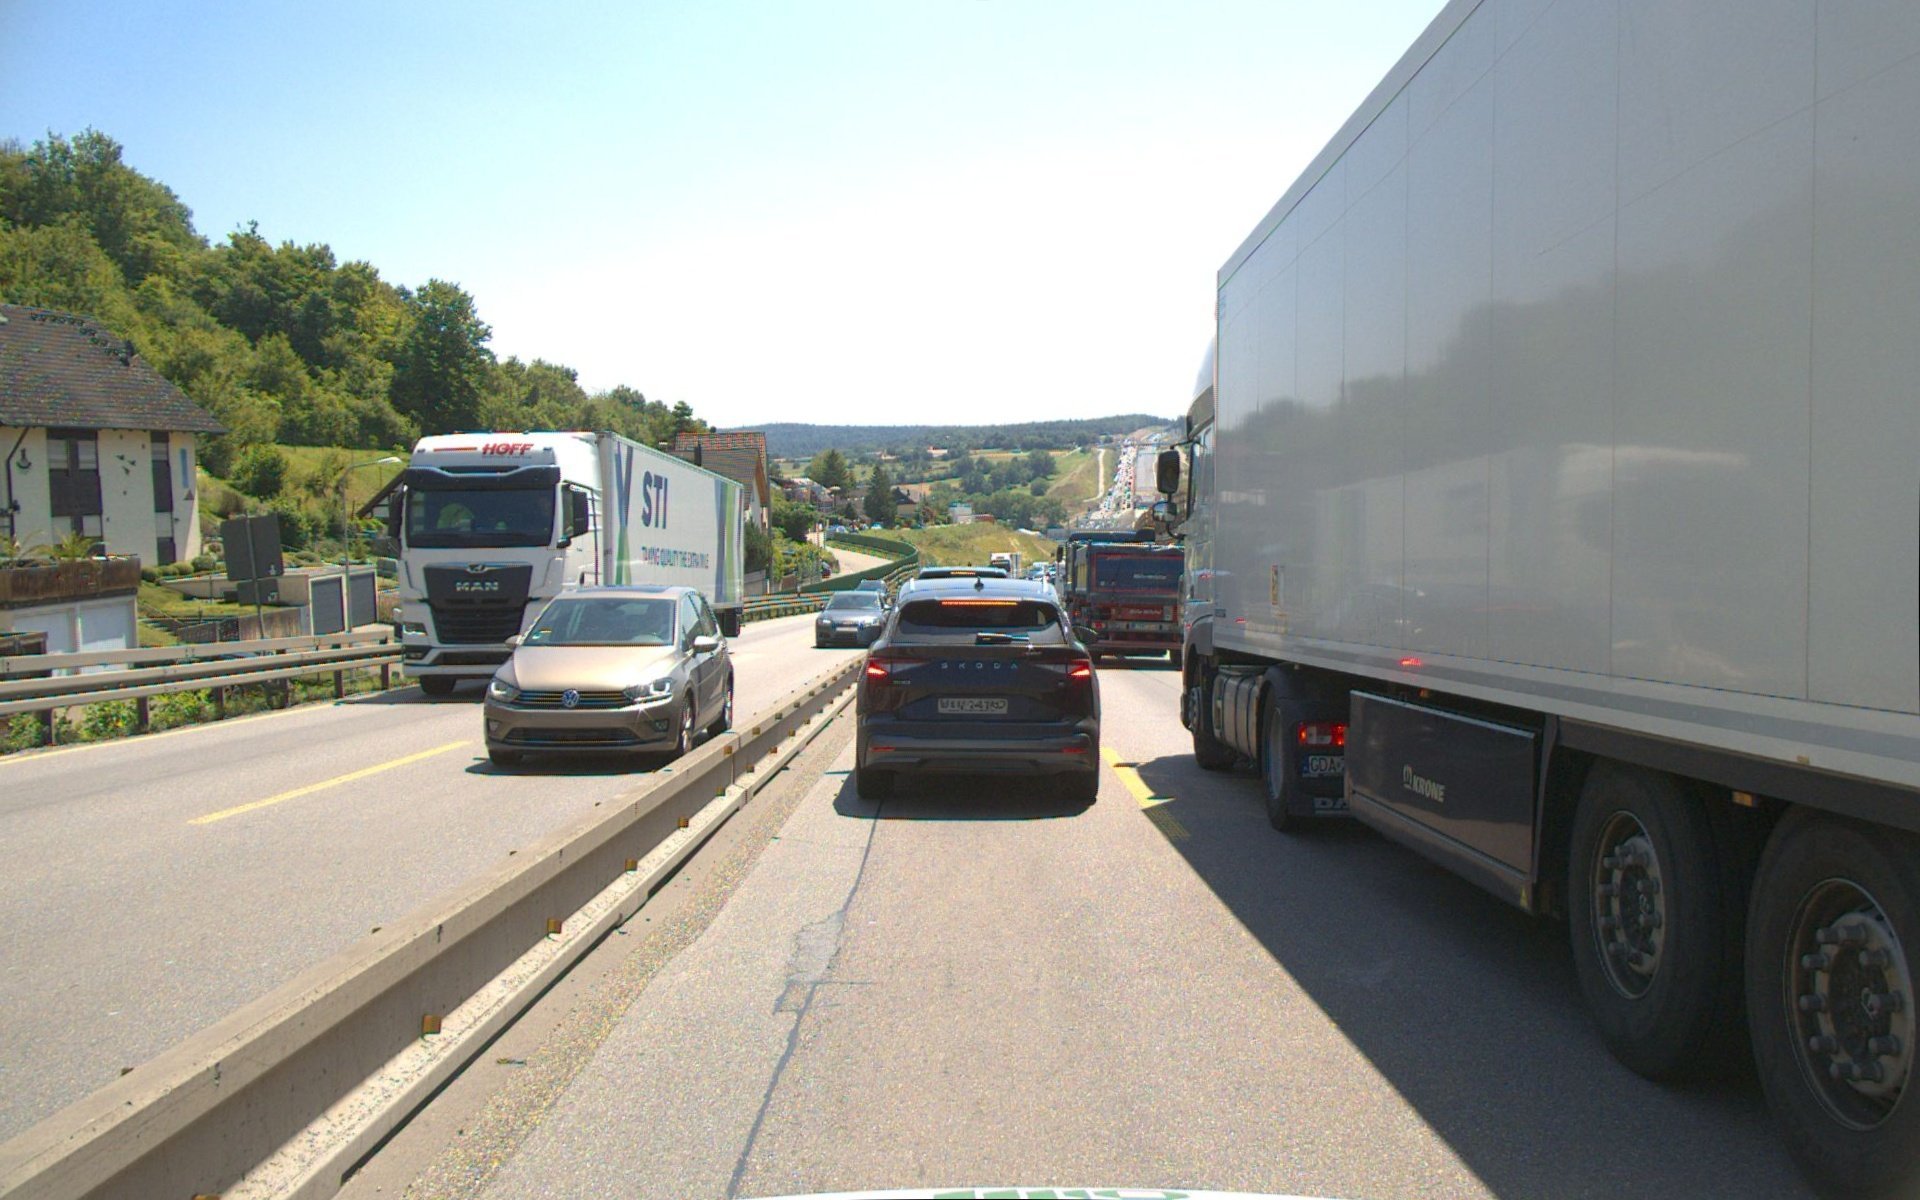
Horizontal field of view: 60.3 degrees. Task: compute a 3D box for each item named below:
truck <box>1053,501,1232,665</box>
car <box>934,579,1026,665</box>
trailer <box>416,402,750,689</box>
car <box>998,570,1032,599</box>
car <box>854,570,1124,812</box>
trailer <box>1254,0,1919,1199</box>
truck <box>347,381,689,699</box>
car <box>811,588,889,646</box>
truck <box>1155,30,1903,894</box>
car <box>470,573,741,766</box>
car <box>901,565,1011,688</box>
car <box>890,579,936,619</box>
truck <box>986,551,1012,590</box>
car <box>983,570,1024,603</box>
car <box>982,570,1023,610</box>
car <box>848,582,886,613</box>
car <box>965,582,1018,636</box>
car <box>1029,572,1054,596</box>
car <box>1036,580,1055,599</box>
[{"bbox_3d":[4.010,-0.308,39.522,3.129,3.247,12.810,1,0,1],"label":"truck"},{"bbox_3d":[0.373,0.417,35.060,1.673,1.650,3.998,1,1,-3],"label":"car"},{"bbox_3d":[-6.841,-0.830,33.121,3.185,4.455,14.059,1,0,1],"label":"trailer"},{"bbox_3d":[3.280,-0.914,99.000,1.952,1.613,3.837,1,0,2],"label":"car"},{"bbox_3d":[0.108,0.628,13.181,1.806,1.614,3.905,1,0,-3],"label":"car"},{"bbox_3d":[3.310,-0.766,5.333,2.480,4.199,11.546,1,0,-1],"label":"trailer"},{"bbox_3d":[-6.941,-0.840,27.567,3.235,4.438,8.302,1,0,1],"label":"truck"},{"bbox_3d":[-2.903,0.443,44.505,1.753,1.478,4.635,0,0,0],"label":"car"},{"bbox_3d":[3.225,-0.644,12.050,2.462,4.095,8.236,1,0,-1],"label":"truck"},{"bbox_3d":[-3.230,0.590,15.844,1.808,1.601,3.999,0,0,-1],"label":"car"},{"bbox_3d":[-0.132,0.382,28.261,1.673,1.914,3.998,1,1,-3],"label":"car"},{"bbox_3d":[-2.029,-0.046,72.673,1.782,1.614,4.159,3,0,1],"label":"car"},{"bbox_3d":[4.443,-3.359,187.814,2.694,4.358,4.960,1,1,4],"label":"truck"},{"bbox_3d":[2.194,-0.662,83.086,1.952,1.613,3.837,1,0,2],"label":"car"},{"bbox_3d":[1.819,-0.454,71.575,1.672,1.650,4.001,1,1,1],"label":"car"},{"bbox_3d":[-4.606,-0.114,82.254,1.671,1.490,3.680,1,0,0],"label":"car"},{"bbox_3d":[1.024,0.257,54.652,1.672,1.650,4.001,1,1,1],"label":"car"},{"bbox_3d":[6.070,-1.183,123.244,1.665,1.758,3.838,1,0,5],"label":"car"},{"bbox_3d":[8.153,-1.018,157.799,1.665,1.758,3.838,1,0,5],"label":"car"}]
